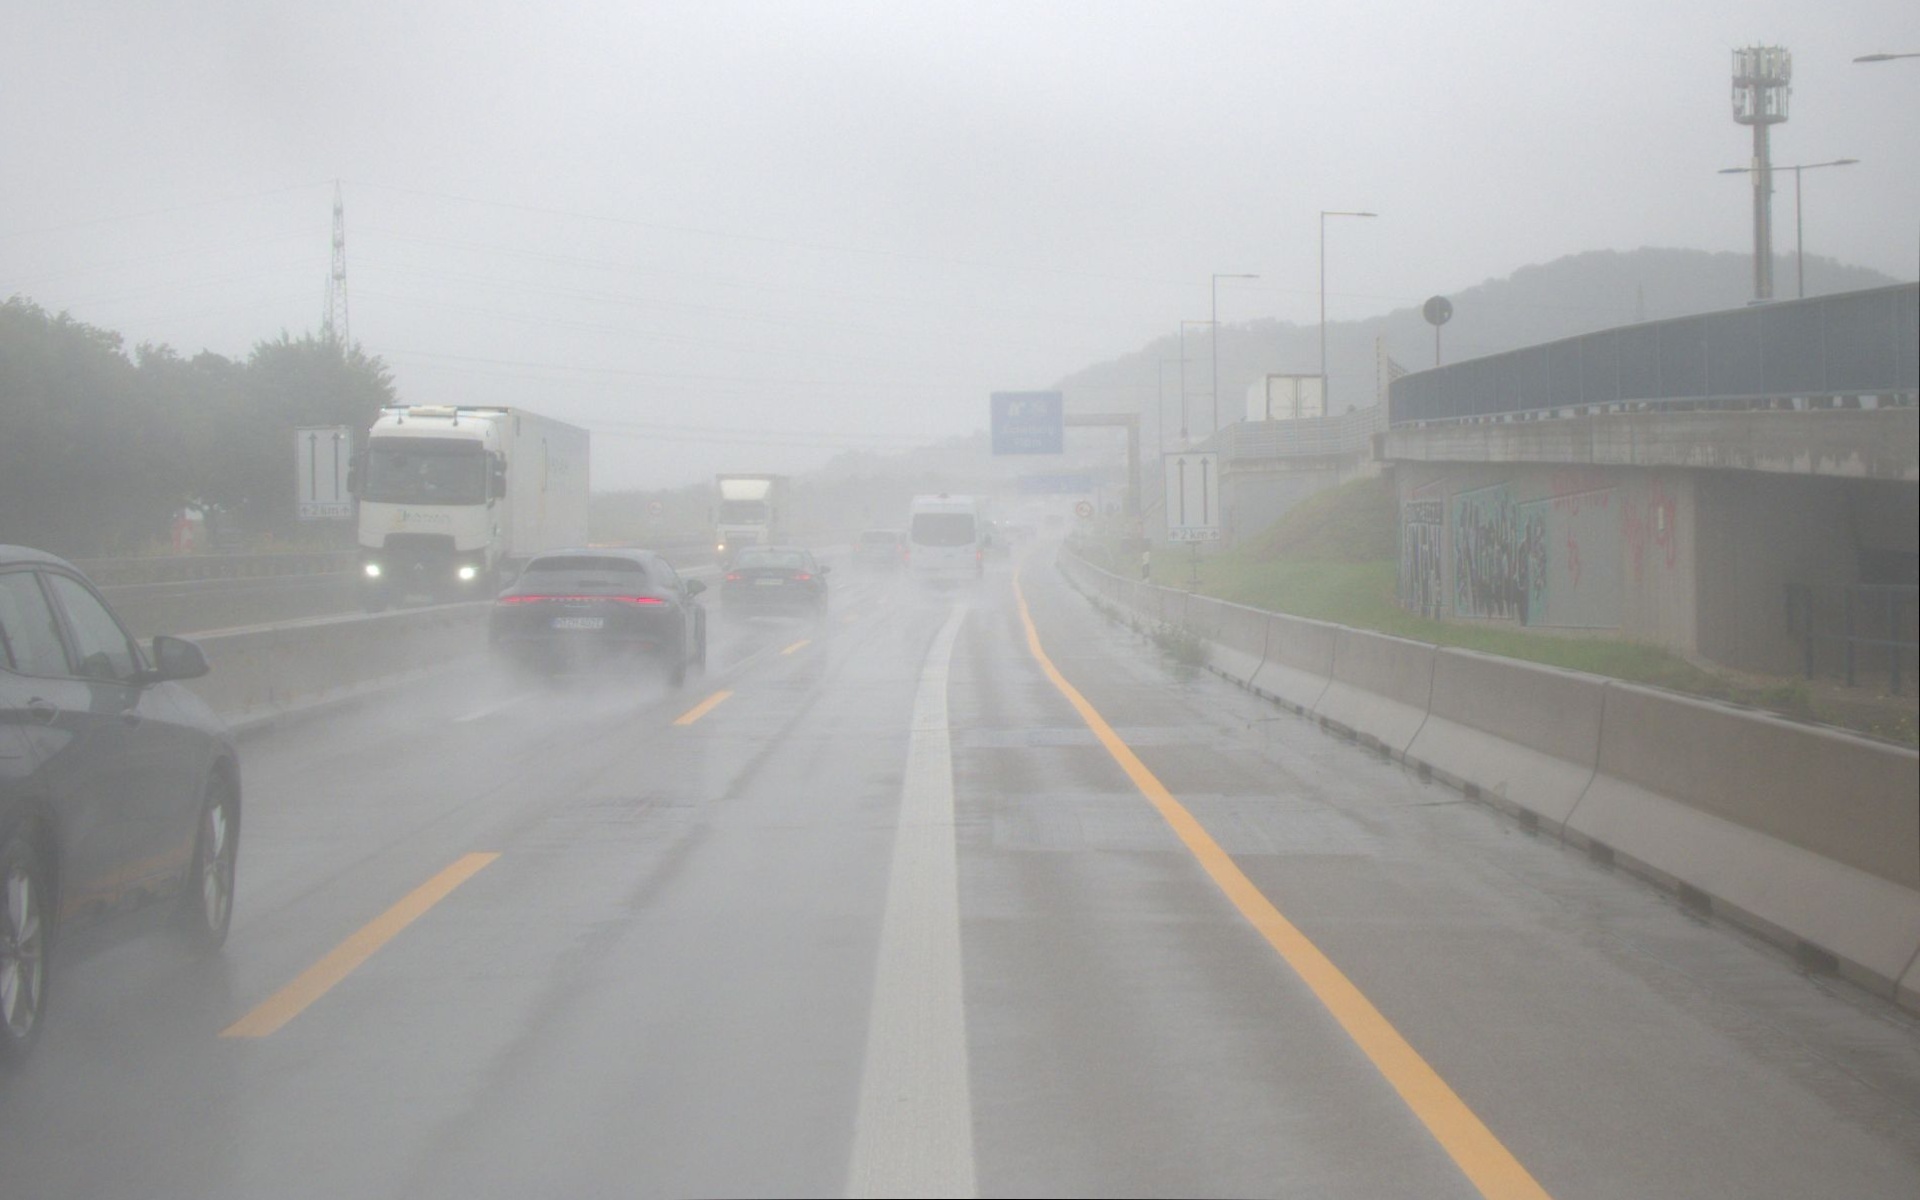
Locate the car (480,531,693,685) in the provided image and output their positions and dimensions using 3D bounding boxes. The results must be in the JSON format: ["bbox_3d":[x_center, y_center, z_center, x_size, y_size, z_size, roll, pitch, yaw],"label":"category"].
[{"bbox_3d":[-3.823,0.065,35.807,1.844,1.486,4.262,1,0,-1],"label":"car"}]

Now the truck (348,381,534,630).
[{"bbox_3d":[-10.026,-1.763,66.998,2.560,4.587,6.452,1,0,1],"label":"truck"}]

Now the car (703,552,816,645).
[{"bbox_3d":[-3.577,-0.054,61.889,1.844,1.486,4.262,-2,2,-1],"label":"car"}]

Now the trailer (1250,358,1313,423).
[{"bbox_3d":[14.255,-9.268,153.173,1.993,2.099,13.767,1,0,2],"label":"trailer"}]

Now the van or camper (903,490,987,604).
[{"bbox_3d":[-0.396,-1.317,86.511,1.996,2.768,4.050,1,0,-1],"label":"van or camper"}]

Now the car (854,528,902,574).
[{"bbox_3d":[-2.796,-1.647,116.722,1.566,1.475,2.822,-2,0,-1],"label":"car"}]

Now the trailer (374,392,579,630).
[{"bbox_3d":[-10.013,-1.749,72.429,2.547,4.573,12.010,1,0,0],"label":"trailer"}]

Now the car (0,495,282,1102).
[{"bbox_3d":[-3.412,0.504,10.856,1.700,1.592,4.845,0,0,-1],"label":"car"}]
